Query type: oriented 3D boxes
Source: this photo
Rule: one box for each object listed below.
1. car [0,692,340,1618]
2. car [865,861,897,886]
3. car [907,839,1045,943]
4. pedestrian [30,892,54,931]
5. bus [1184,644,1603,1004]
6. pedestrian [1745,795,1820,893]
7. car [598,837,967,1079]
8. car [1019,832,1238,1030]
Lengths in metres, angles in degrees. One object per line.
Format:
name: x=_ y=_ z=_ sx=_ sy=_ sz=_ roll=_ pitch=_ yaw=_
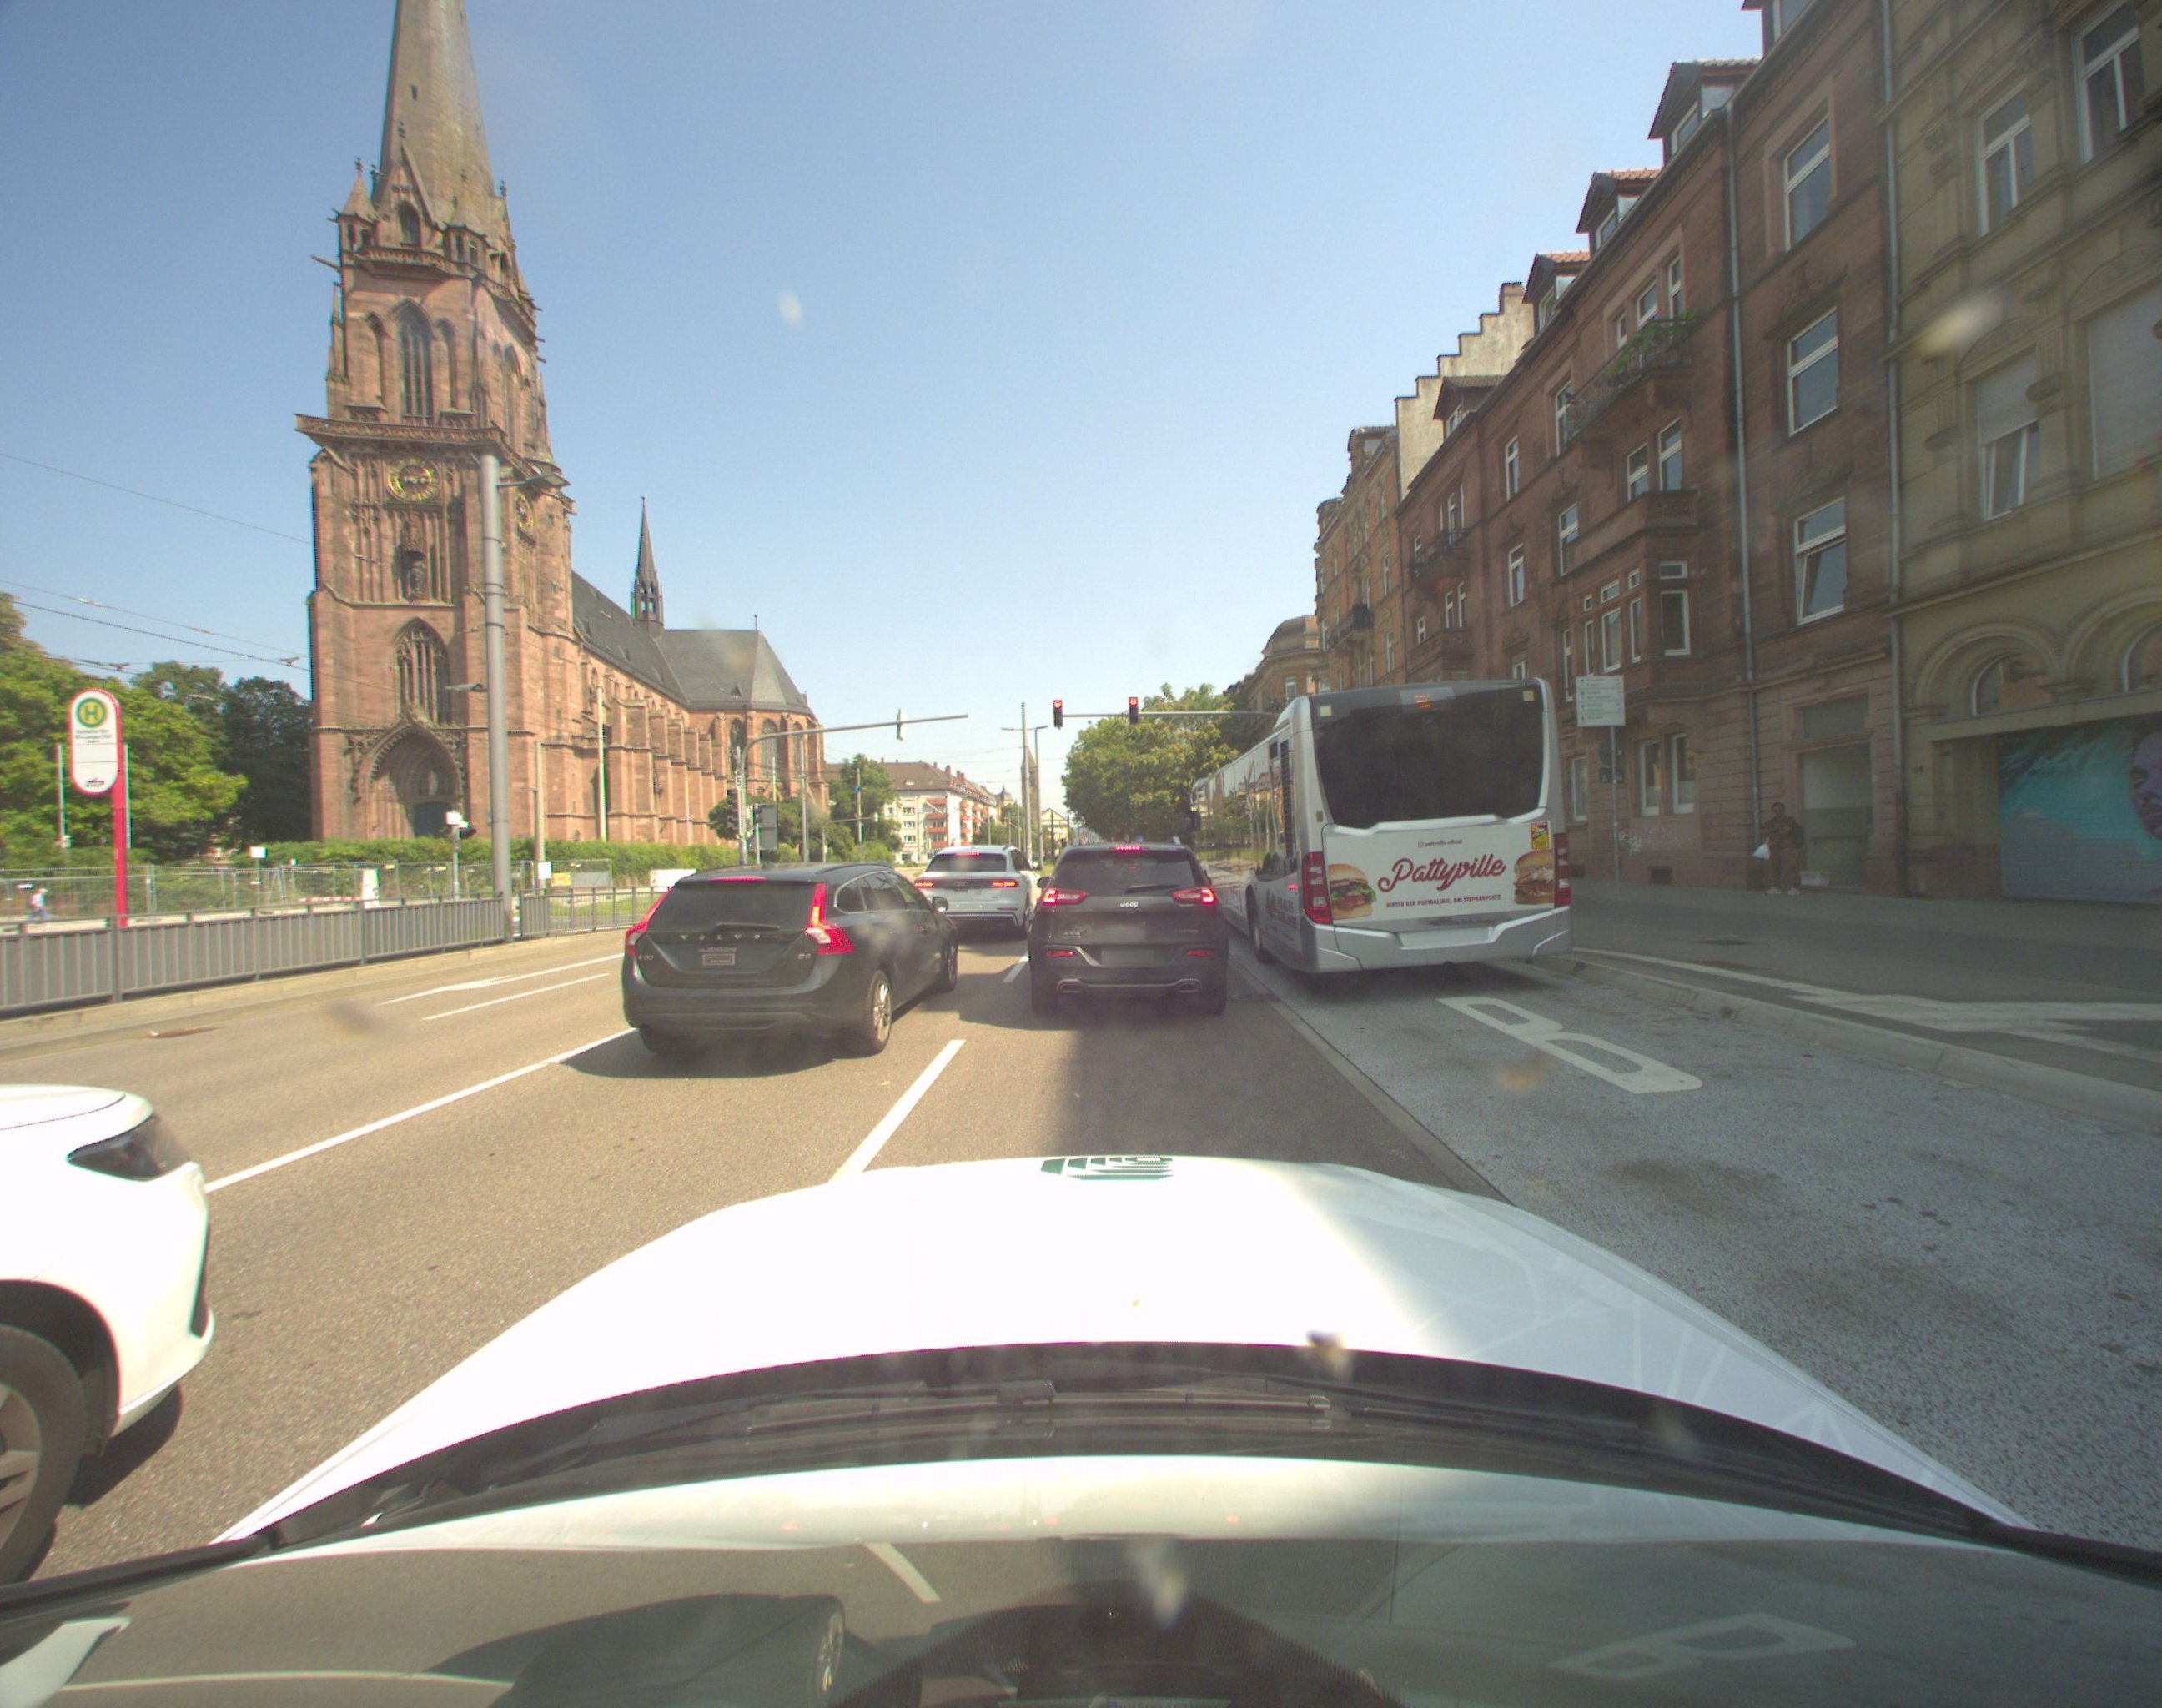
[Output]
car: x=-3.050 y=0.606 z=0.198 sx=1.741 sy=1.820 sz=4.241 roll=-1 pitch=0 yaw=2
car: x=-13.046 y=1.224 z=52.984 sx=1.750 sy=1.435 sz=4.547 roll=-3 pitch=0 yaw=-16
car: x=-1.809 y=0.592 z=15.464 sx=1.895 sy=1.651 sz=4.310 roll=-1 pitch=0 yaw=2
pedestrian: x=-41.875 y=2.297 z=32.815 sx=0.430 sy=1.531 sz=0.548 roll=-2 pitch=0 yaw=36
bus: x=3.610 y=-0.270 z=13.469 sx=2.732 sy=3.107 sz=11.965 roll=-5 pitch=0 yaw=3
pedestrian: x=13.253 y=-0.190 z=15.387 sx=0.872 sy=1.778 sz=0.737 roll=-2 pitch=0 yaw=-26
car: x=-2.321 y=0.697 z=7.659 sx=1.741 sy=1.614 sz=4.310 roll=-1 pitch=0 yaw=2
car: x=0.508 y=0.642 z=9.013 sx=1.825 sy=1.651 sz=4.311 roll=-1 pitch=0 yaw=3
